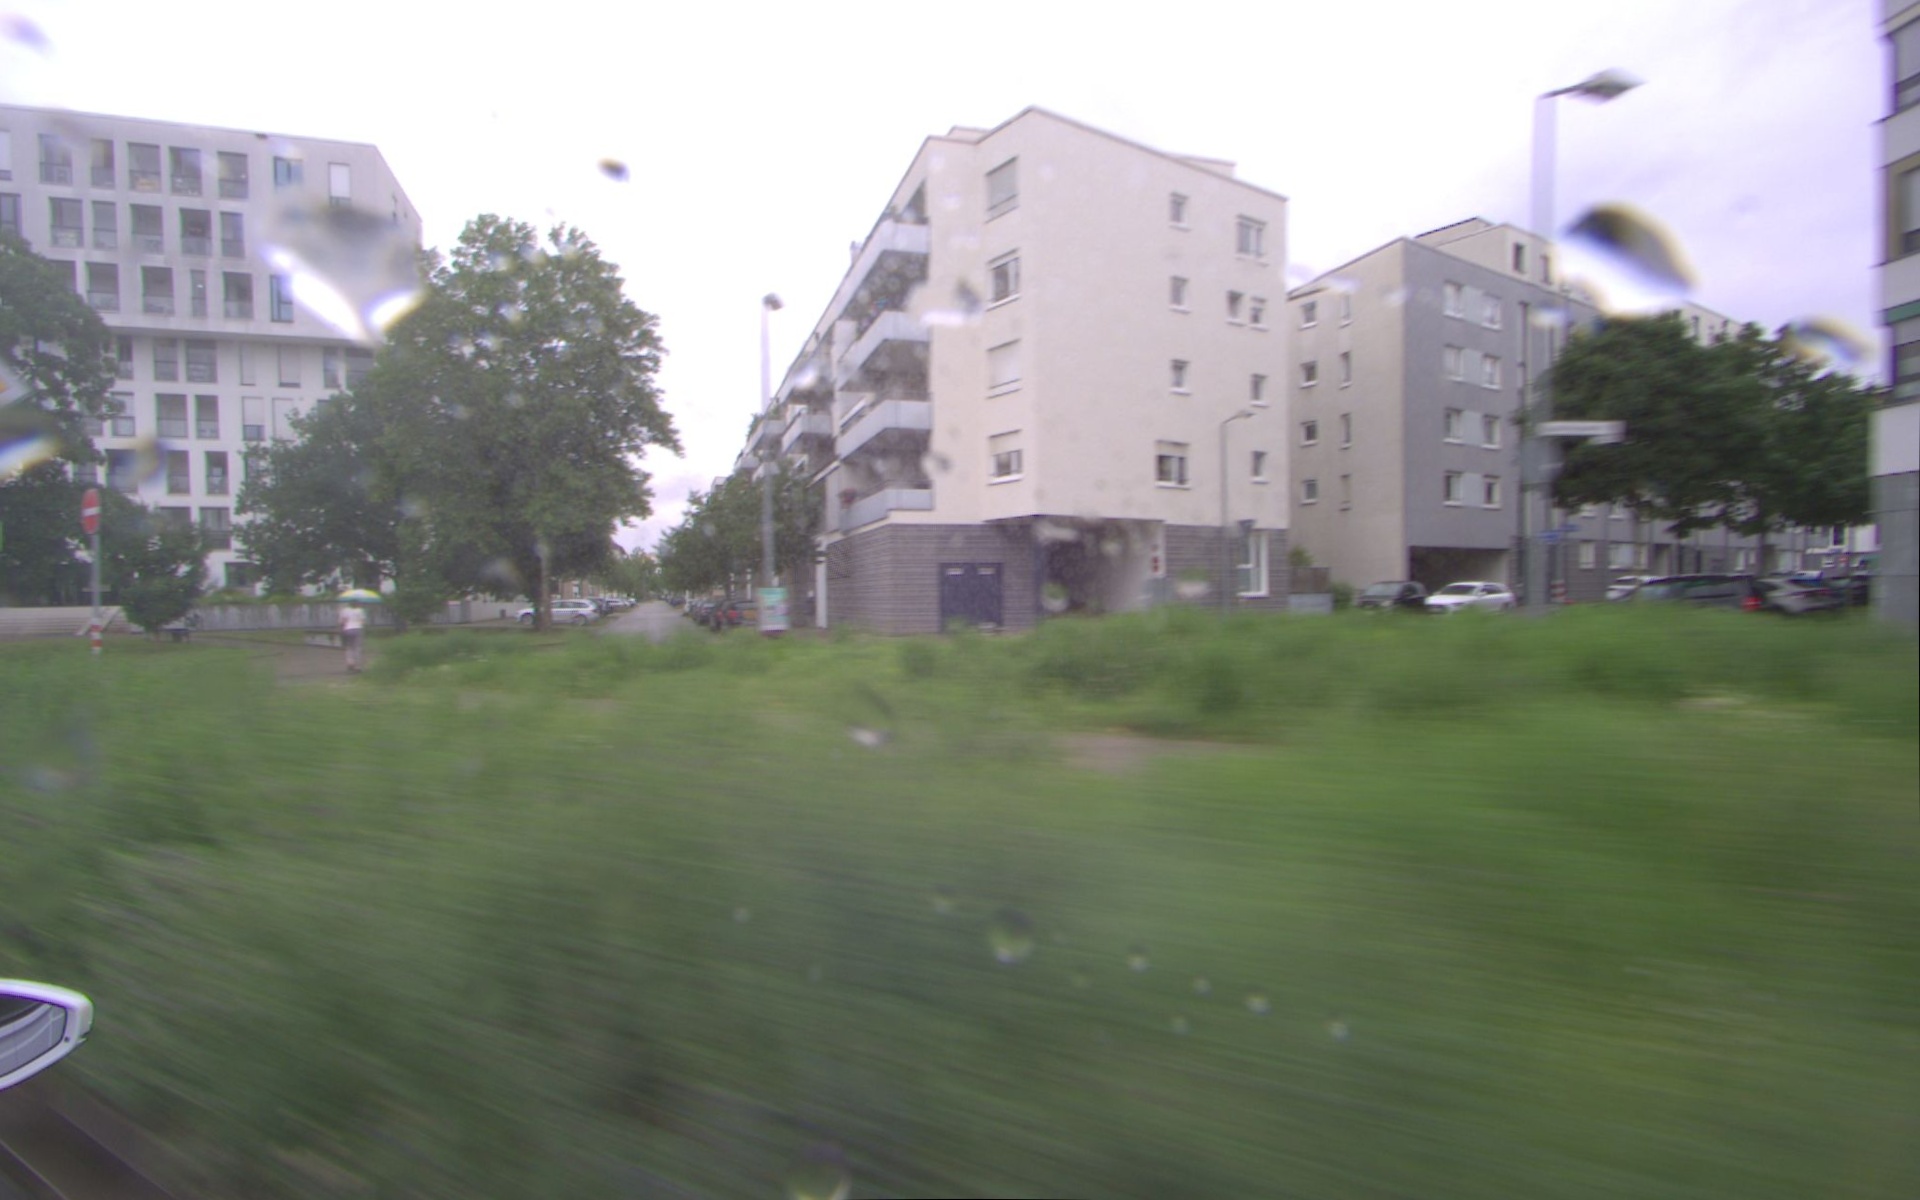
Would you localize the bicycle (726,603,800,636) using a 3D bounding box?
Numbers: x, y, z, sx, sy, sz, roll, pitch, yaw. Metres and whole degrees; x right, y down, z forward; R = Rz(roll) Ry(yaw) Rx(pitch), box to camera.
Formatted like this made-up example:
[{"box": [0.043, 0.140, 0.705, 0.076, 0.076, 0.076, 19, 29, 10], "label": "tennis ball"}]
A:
[{"box": [-6.836, 0.672, 34.738, 2.440, 1.102, 0.724, 0, 1, -17], "label": "bicycle"}]

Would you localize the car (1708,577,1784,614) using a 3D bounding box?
[{"box": [44.913, -0.258, 57.179, 5.397, 2.040, 1.986, 0, 1, -35], "label": "car"}]

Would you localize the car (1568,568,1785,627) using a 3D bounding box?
[{"box": [19.351, -0.058, 27.245, 1.790, 1.452, 4.493, -1, 0, -35], "label": "car"}]

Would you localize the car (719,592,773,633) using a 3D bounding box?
[{"box": [-8.869, 0.490, 41.270, 1.704, 1.569, 4.111, -1, 0, -19], "label": "car"}]

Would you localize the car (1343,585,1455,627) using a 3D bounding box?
[{"box": [15.534, 0.189, 35.409, 3.777, 1.434, 1.986, -1, 1, -35], "label": "car"}]

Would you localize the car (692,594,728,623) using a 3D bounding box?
[{"box": [-15.308, 0.499, 61.259, 1.744, 1.569, 4.133, -2, 2, -18], "label": "car"}]

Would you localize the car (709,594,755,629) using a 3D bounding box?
[{"box": [-10.799, 0.532, 47.229, 1.704, 1.569, 3.990, -1, 0, -19], "label": "car"}]

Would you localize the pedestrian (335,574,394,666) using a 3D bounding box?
[{"box": [-13.571, 0.448, 22.845, 0.614, 2.041, 0.963, 1, 2, 32], "label": "pedestrian"}]

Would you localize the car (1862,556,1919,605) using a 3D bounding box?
[{"box": [36.205, -0.725, 36.926, 1.790, 1.777, 4.075, -1, 0, -35], "label": "car"}]

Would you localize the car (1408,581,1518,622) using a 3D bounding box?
[{"box": [19.080, 0.034, 37.949, 4.410, 1.451, 1.985, -1, 1, -37], "label": "car"}]

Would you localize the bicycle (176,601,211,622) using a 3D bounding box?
[{"box": [-38.088, 0.559, 49.757, 0.712, 1.047, 2.068, -1, 0, -18], "label": "bicycle"}]

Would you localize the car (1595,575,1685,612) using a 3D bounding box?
[{"box": [32.616, -0.316, 47.980, 4.360, 1.707, 1.988, -1, 1, -32], "label": "car"}]

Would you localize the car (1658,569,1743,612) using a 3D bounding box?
[{"box": [38.670, -0.477, 52.245, 4.926, 2.125, 1.987, 0, 1, -34], "label": "car"}]

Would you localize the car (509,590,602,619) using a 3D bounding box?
[{"box": [-23.094, 0.269, 57.299, 4.751, 1.527, 1.621, 1, 0, -17], "label": "car"}]
